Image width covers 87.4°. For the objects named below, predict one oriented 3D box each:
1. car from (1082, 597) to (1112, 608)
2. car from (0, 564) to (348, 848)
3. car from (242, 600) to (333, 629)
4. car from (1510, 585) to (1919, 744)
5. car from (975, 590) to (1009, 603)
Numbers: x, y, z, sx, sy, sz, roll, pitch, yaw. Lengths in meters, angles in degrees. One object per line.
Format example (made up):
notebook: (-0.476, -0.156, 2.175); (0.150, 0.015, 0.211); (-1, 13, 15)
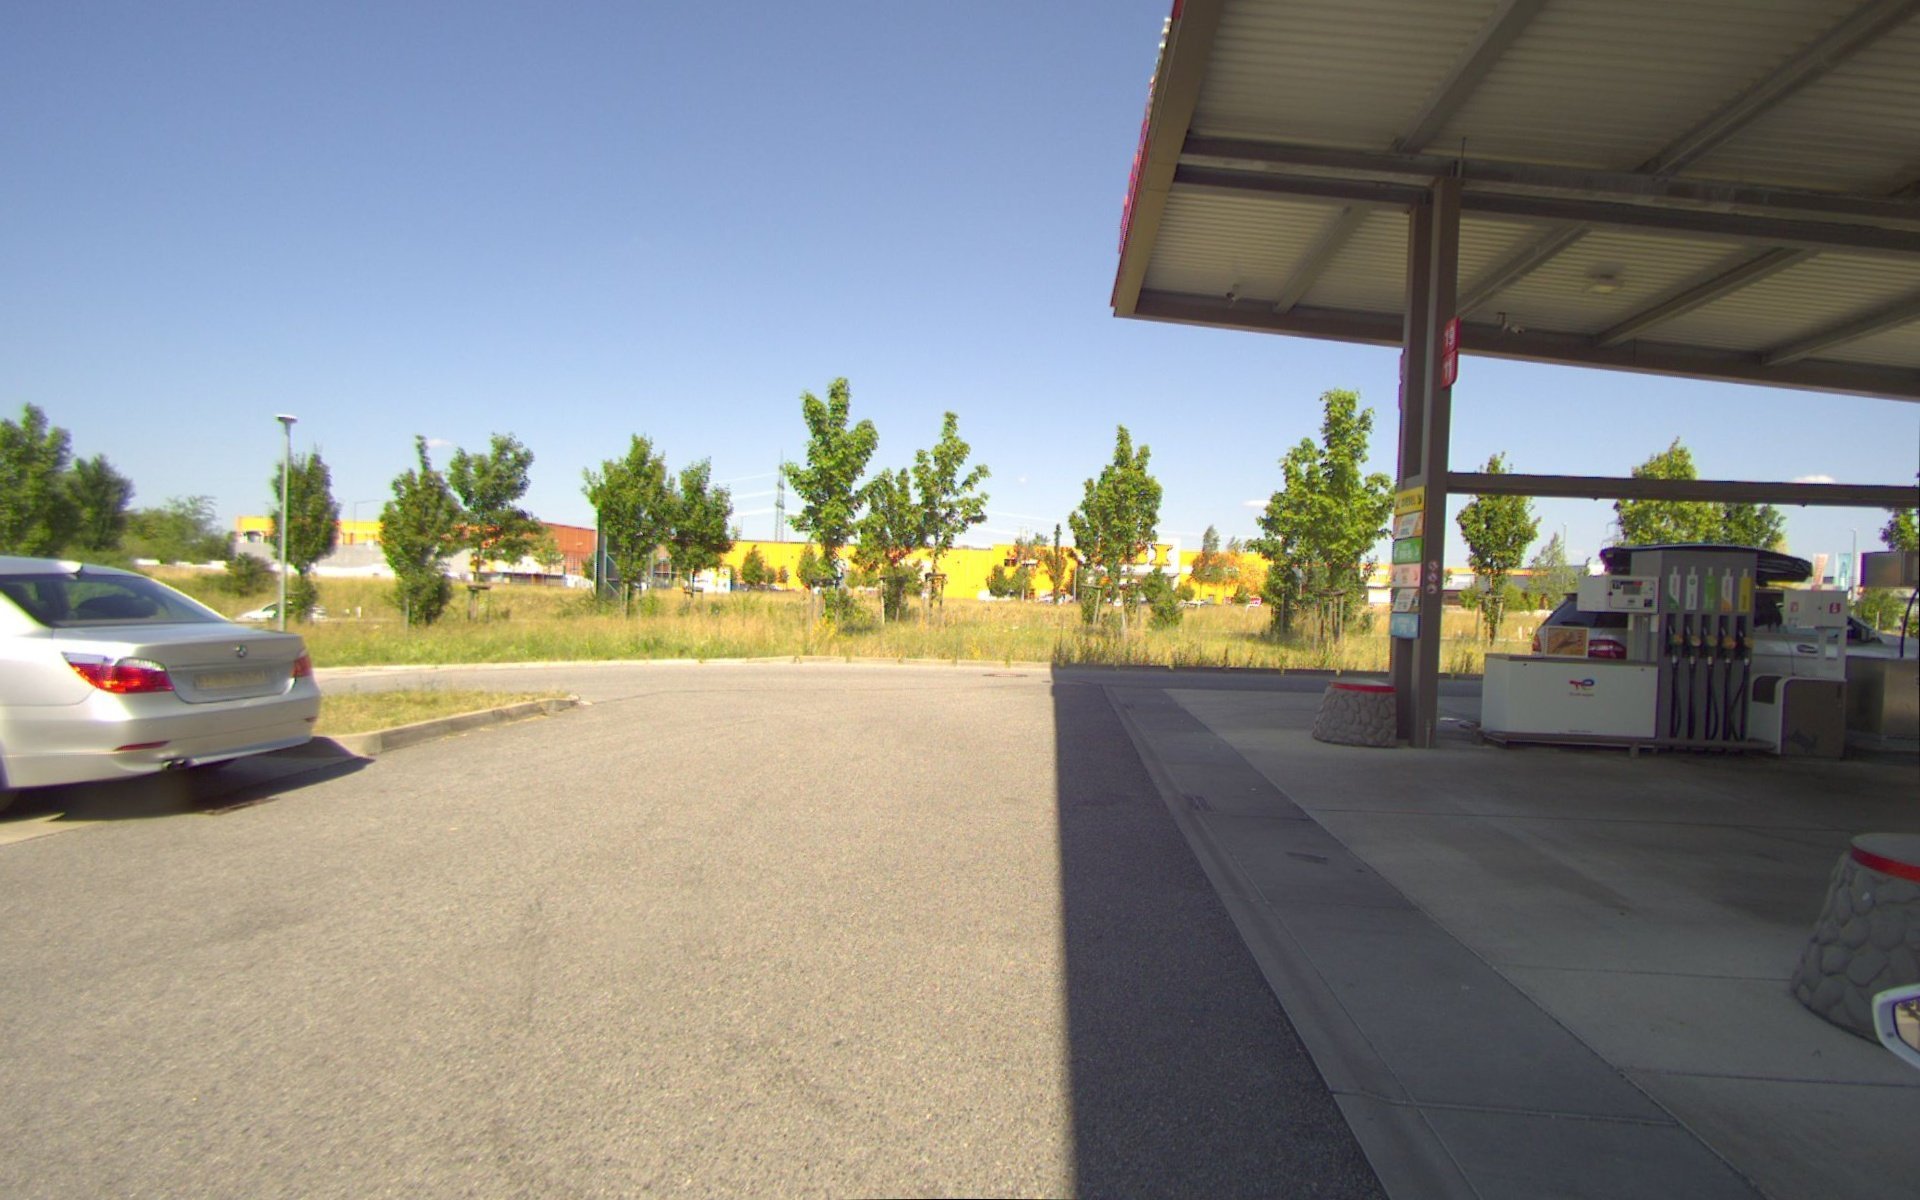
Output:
car: (19.305, 0.312, 141.374); (4.085, 1.490, 1.672); (1, 0, 7)
car: (-6.506, 0.489, 6.364); (4.234, 1.447, 1.794); (2, 1, 6)
car: (-38.328, 0.806, 57.313); (3.920, 1.539, 1.897); (1, 0, 2)
car: (9.420, 0.723, 12.177); (4.446, 1.710, 1.866); (1, 1, 1)
car: (4.145, -0.437, 129.705); (4.296, 1.568, 1.795); (1, 0, 7)
